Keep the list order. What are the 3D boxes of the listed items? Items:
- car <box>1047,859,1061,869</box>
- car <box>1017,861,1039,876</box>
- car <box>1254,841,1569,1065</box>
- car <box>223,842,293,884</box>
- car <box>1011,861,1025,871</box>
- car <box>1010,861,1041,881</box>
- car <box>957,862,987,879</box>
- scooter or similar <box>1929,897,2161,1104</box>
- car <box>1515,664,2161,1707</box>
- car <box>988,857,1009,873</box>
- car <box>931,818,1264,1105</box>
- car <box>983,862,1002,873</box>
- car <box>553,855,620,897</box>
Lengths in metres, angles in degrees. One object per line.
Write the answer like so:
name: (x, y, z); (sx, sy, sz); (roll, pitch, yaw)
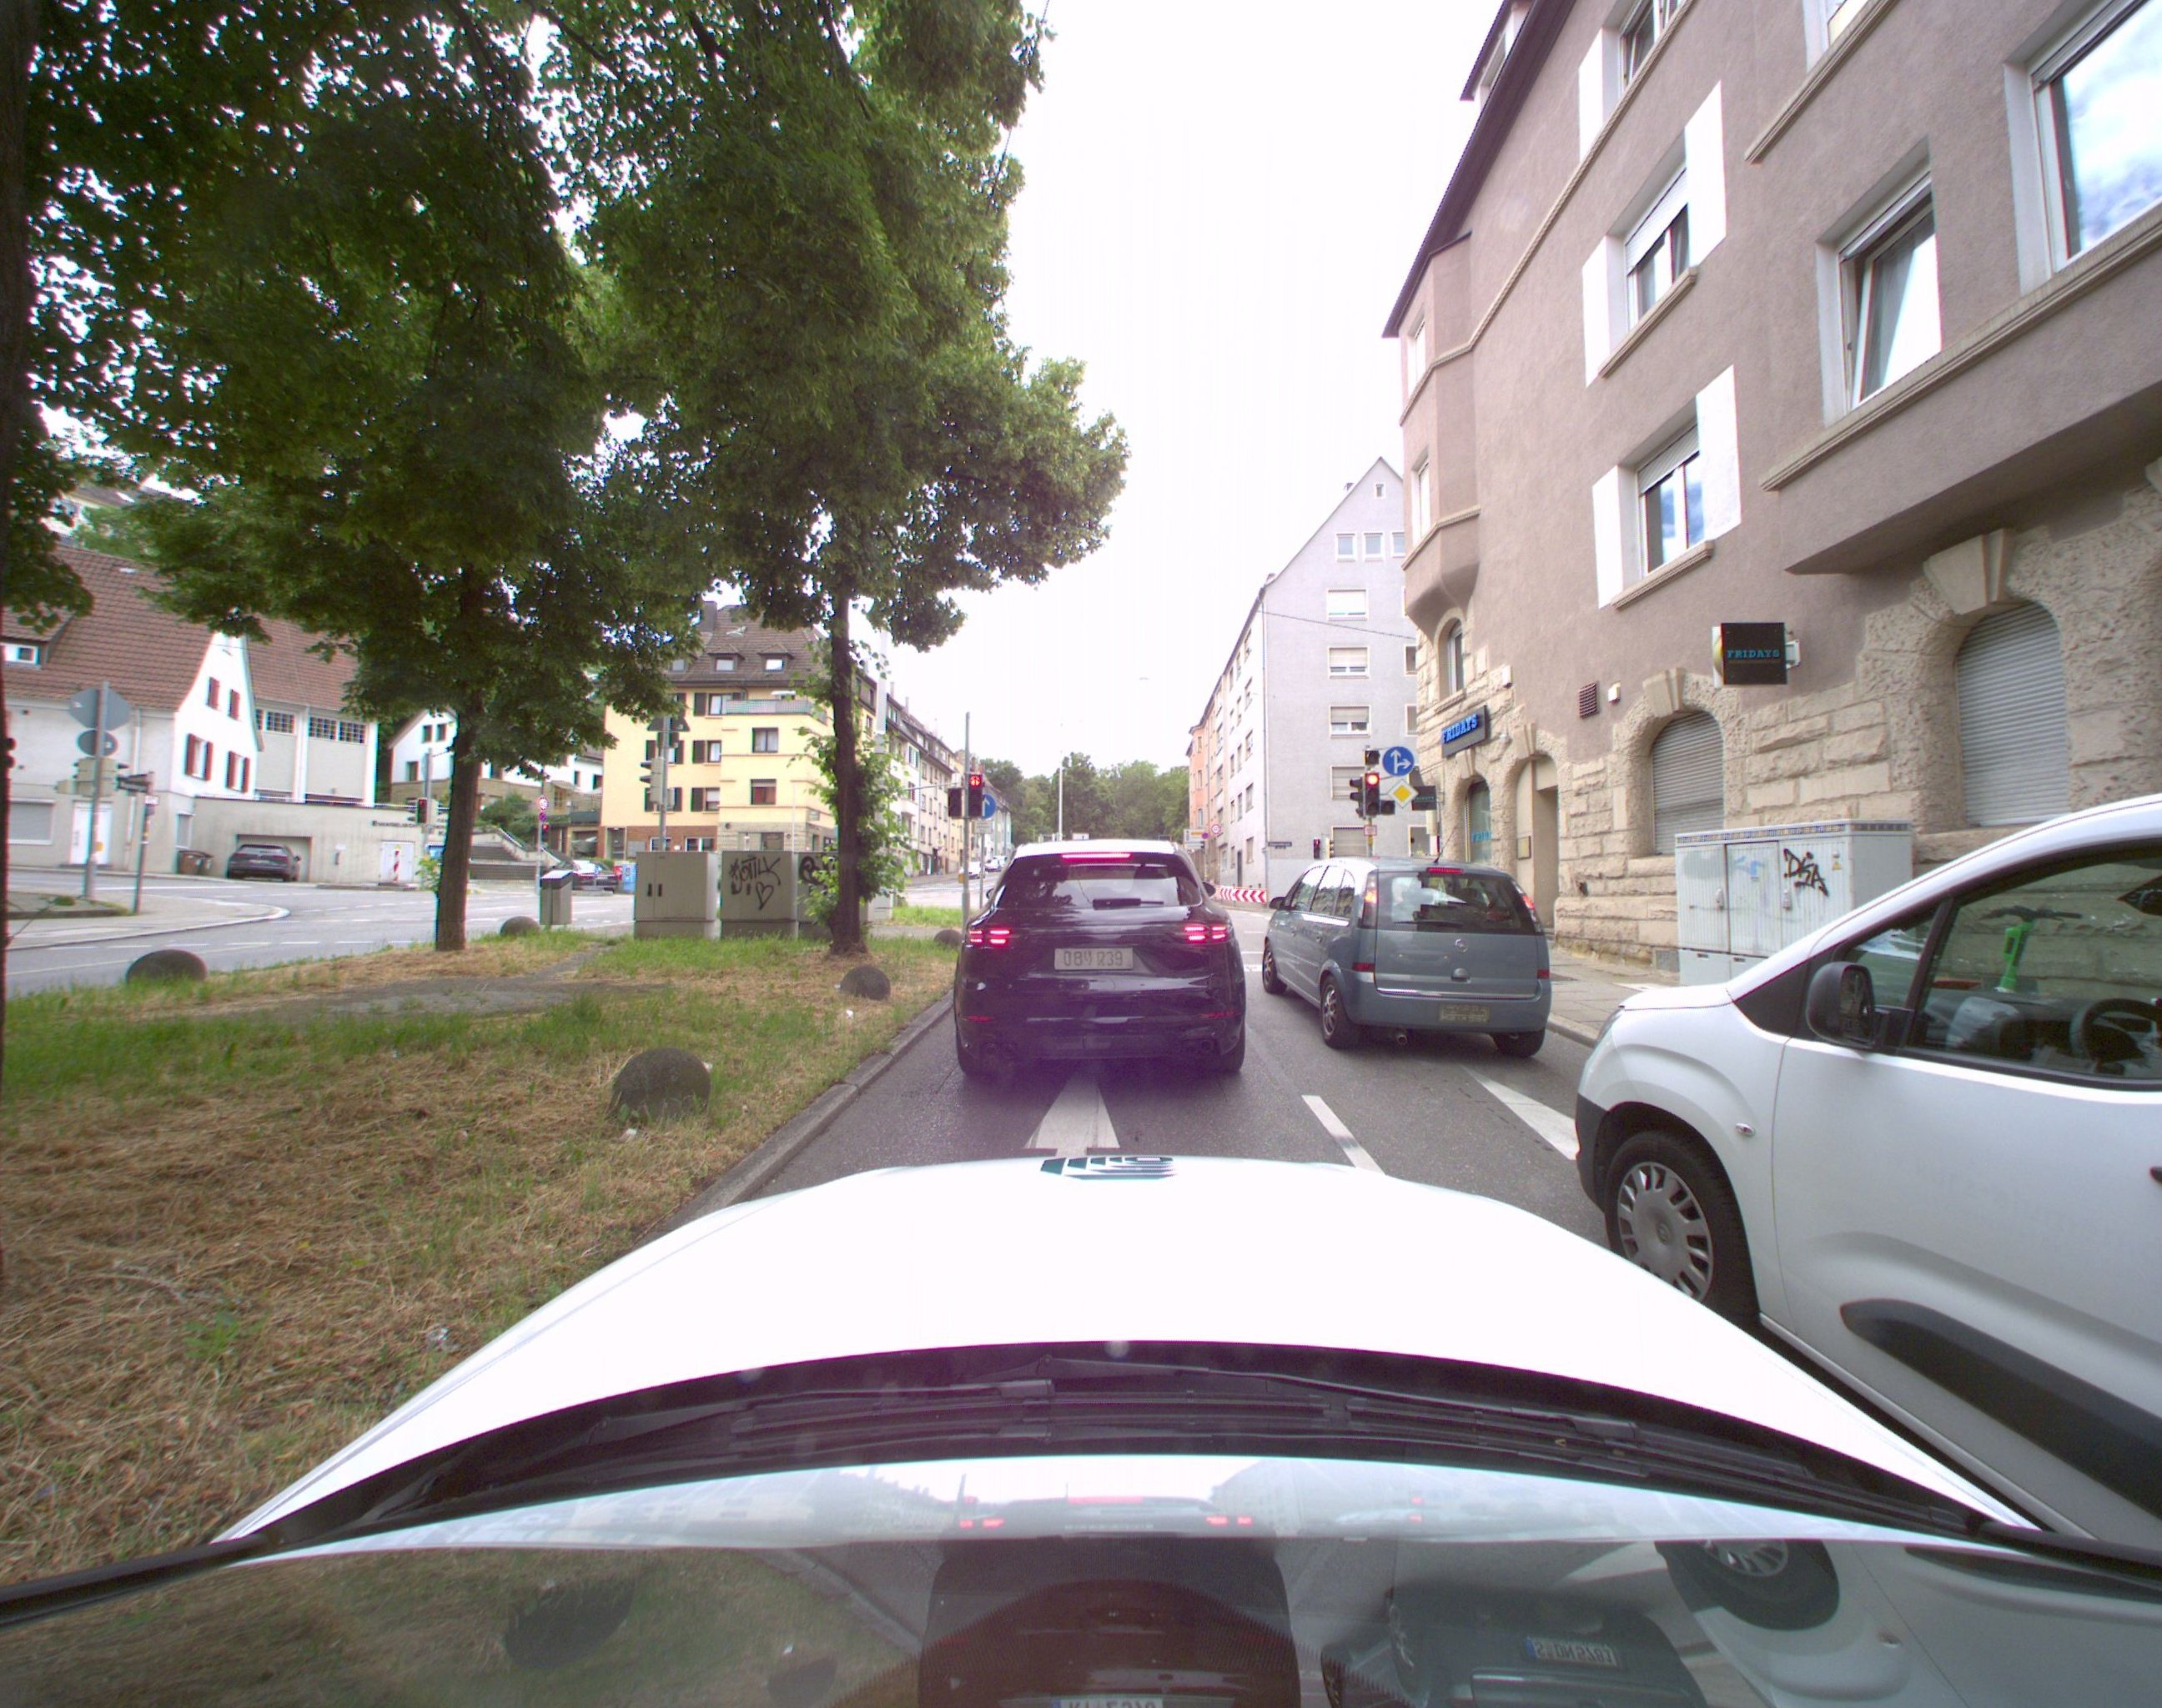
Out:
car: (-4.172, 1.609, 124.759); (1.611, 1.480, 3.828); (-1, -2, 5)
car: (-6.049, 1.605, 93.042); (1.966, 1.610, 4.560); (0, 0, 2)
car: (2.865, 0.754, 7.926); (1.622, 1.598, 3.670); (3, 0, 2)
car: (-32.175, 0.348, 31.825); (3.019, 1.405, 1.681); (2, -4, 42)
car: (-9.658, 1.856, 125.438); (1.682, 1.538, 3.815); (0, -1, 2)
car: (-4.106, 1.258, 60.807); (1.854, 1.388, 4.096); (0, 0, 2)
car: (-9.566, 1.434, 71.698); (1.836, 1.486, 3.901); (0, -1, 3)
scooter or similar: (6.415, 0.864, 5.223); (0.524, 1.104, 1.424); (-1, -1, 4)
car: (2.806, 0.605, 1.050); (1.969, 1.775, 4.676); (3, 0, 0)
car: (-10.584, 1.400, 104.979); (2.008, 2.045, 4.669); (0, -1, 2)
car: (0.158, 0.658, 6.851); (1.948, 1.674, 4.001); (-1, -1, 2)
car: (-10.806, 1.641, 99.376); (1.732, 1.387, 3.815); (0, 0, 2)
car: (-23.590, 1.004, 38.846); (3.477, 1.596, 1.881); (7, 4, 44)
